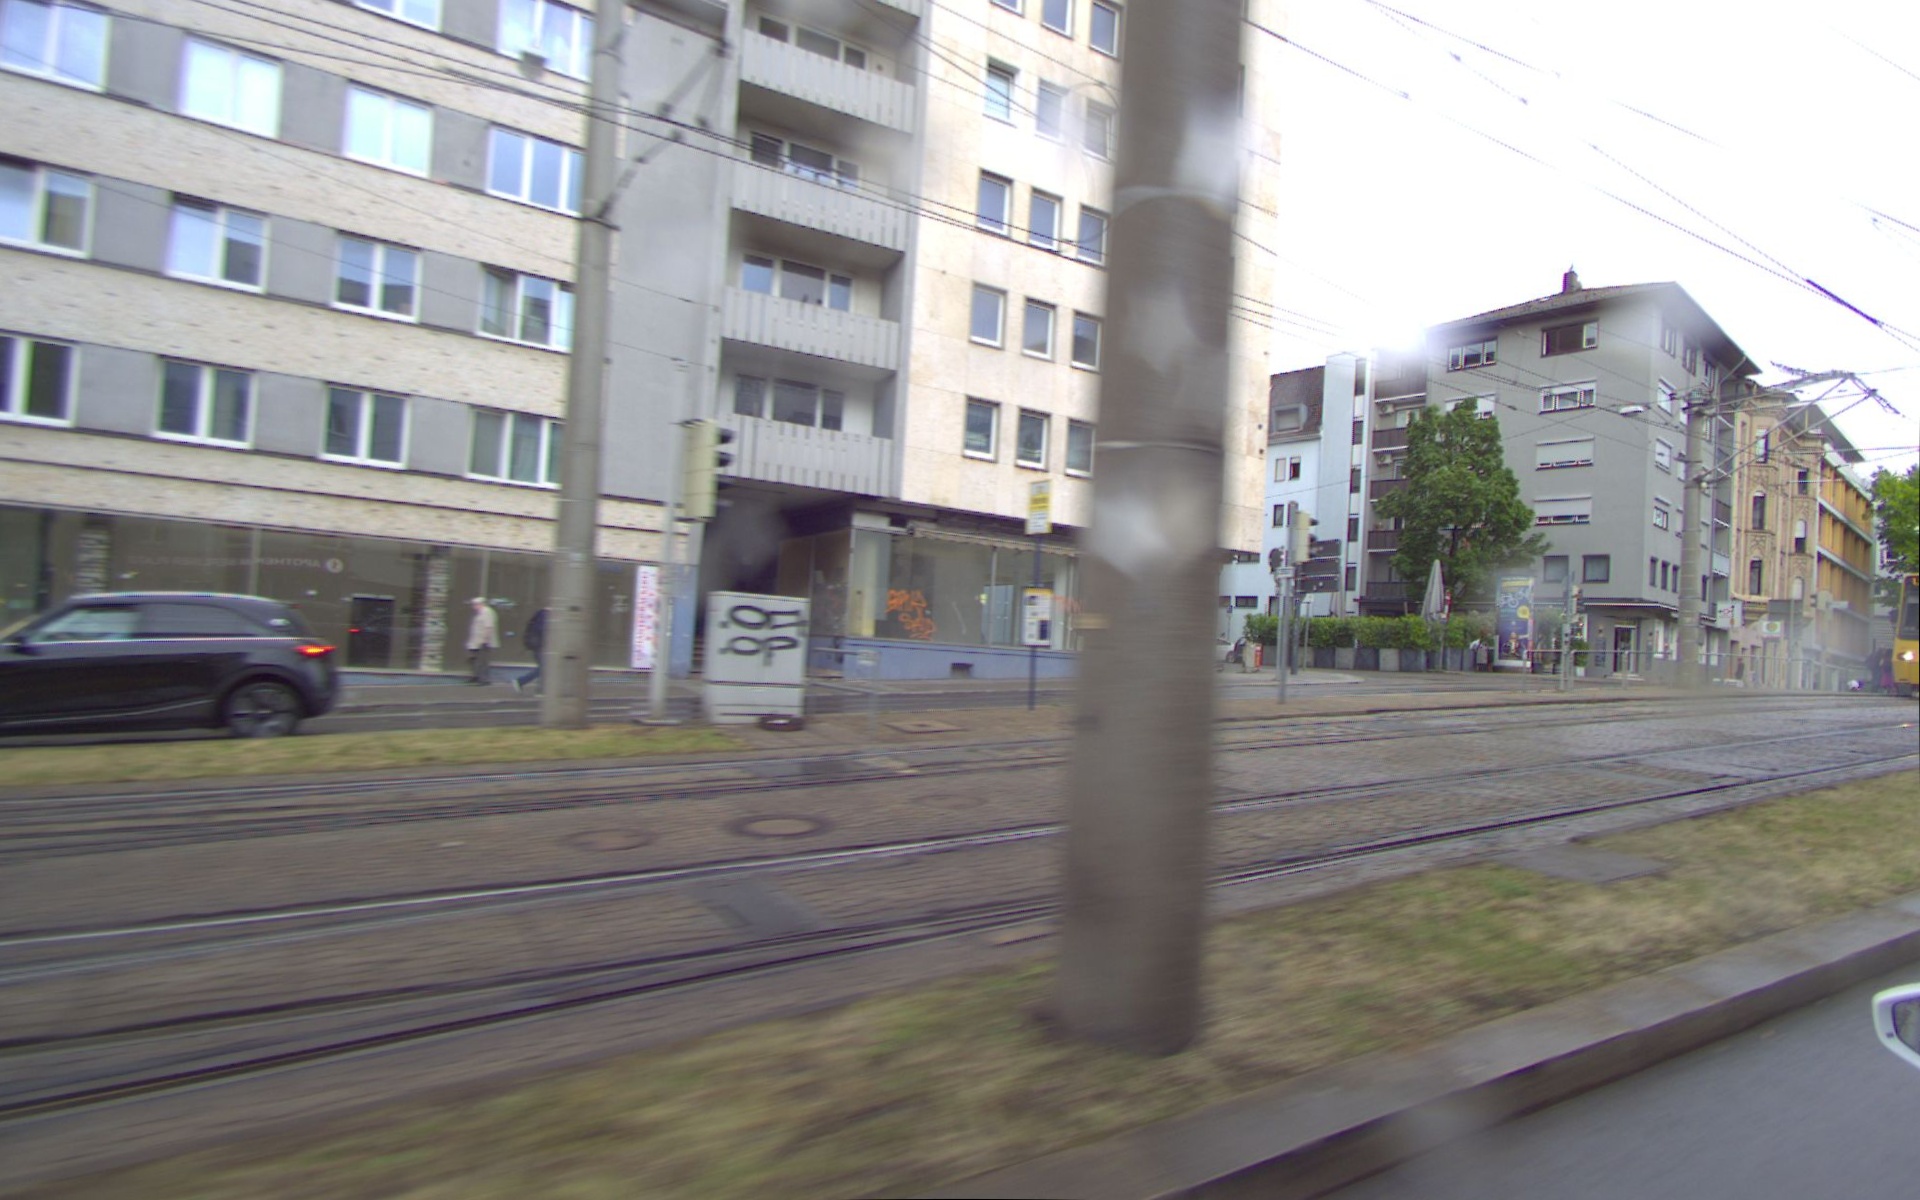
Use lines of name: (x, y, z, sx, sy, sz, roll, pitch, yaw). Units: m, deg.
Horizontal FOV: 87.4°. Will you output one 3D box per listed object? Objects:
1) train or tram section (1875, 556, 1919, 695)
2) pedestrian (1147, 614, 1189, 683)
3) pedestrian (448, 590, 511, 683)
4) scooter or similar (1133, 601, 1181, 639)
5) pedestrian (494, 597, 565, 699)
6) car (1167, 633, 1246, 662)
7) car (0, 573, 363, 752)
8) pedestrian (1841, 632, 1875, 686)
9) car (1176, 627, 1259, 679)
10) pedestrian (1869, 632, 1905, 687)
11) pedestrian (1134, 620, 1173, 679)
train or tram section: (33.958, 1.224, 31.645, 18.766, 3.745, 2.731, 4, -2, -32)
pedestrian: (5.396, 1.242, 26.067, 0.899, 1.761, 0.593, 2, -1, -32)
pedestrian: (-9.113, 0.687, 19.055, 0.987, 1.703, 0.675, 2, -1, -32)
scooter or similar: (6.401, 0.652, 32.630, 1.459, 1.161, 0.566, 2, -1, 20)
pedestrian: (-7.450, 0.814, 17.355, 0.987, 1.703, 0.883, 2, -1, -31)
car: (13.766, 2.635, 56.109, 3.945, 1.528, 1.981, 2, -1, -25)
car: (-9.081, 0.625, 10.753, 4.482, 1.695, 1.981, 2, -2, -35)
pedestrian: (30.904, 2.022, 34.566, 0.689, 1.814, 0.728, 2, -1, -31)
car: (10.203, 2.014, 39.487, 1.963, 1.853, 5.227, 1, -1, 28)
pedestrian: (31.253, 1.990, 33.861, 0.689, 1.814, 0.728, 2, -1, -31)
pedestrian: (5.318, 1.353, 27.630, 0.767, 1.569, 0.674, 2, -1, -31)
